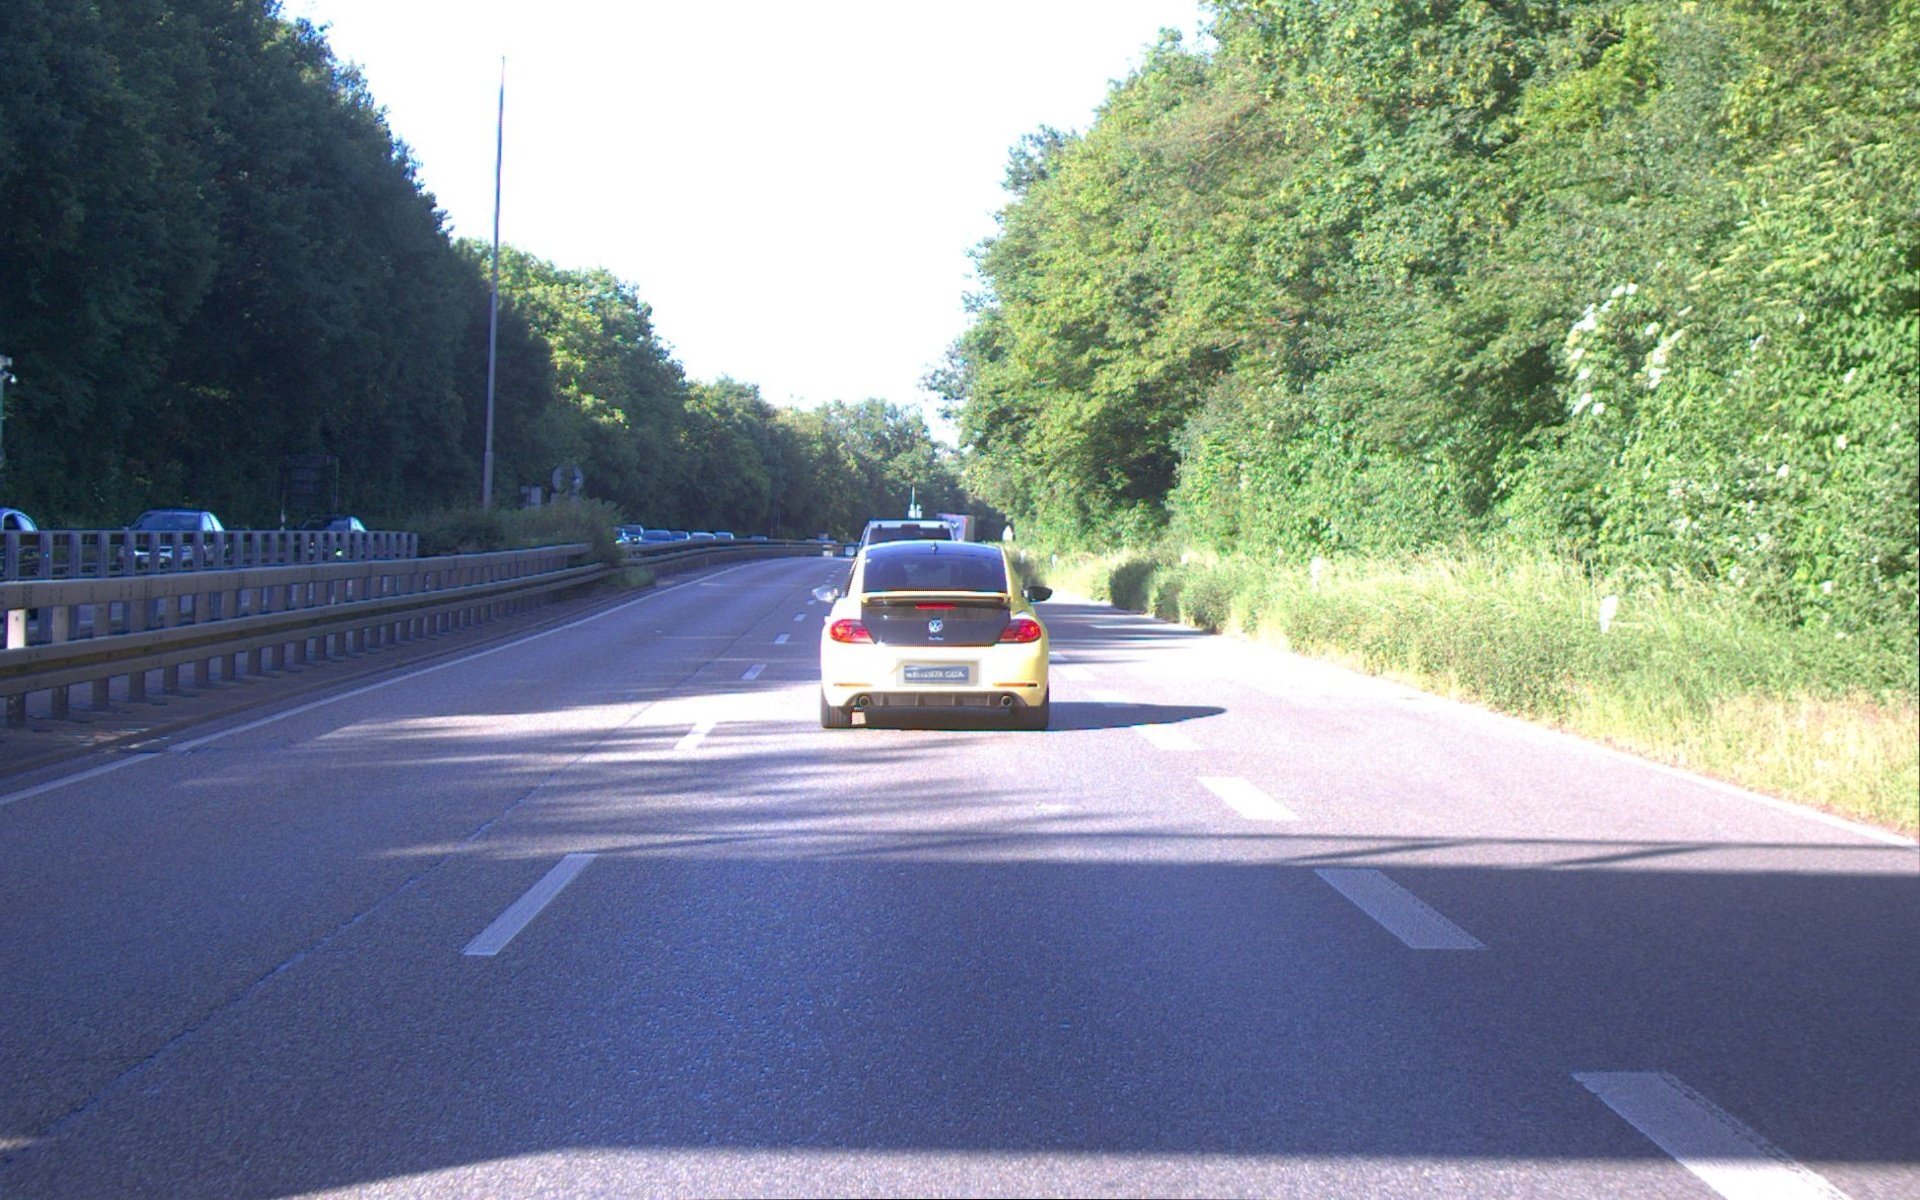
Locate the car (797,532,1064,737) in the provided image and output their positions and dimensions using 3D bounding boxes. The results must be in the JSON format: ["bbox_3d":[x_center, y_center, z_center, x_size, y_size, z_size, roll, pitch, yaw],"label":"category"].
[{"bbox_3d":[-0.172,0.239,27.539,1.939,1.503,3.422,1,1,2],"label":"car"}]

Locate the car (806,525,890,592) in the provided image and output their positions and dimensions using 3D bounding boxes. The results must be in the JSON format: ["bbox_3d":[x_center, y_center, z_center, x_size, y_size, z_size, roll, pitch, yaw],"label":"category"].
[{"bbox_3d":[-2.648,-0.988,81.964,1.939,1.539,3.423,1,1,-1],"label":"car"}]

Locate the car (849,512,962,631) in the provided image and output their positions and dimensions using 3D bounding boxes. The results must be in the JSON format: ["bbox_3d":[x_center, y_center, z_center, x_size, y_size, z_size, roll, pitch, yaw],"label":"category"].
[{"bbox_3d":[-0.914,-0.476,56.012,1.741,1.823,3.423,2,1,-2],"label":"car"}]

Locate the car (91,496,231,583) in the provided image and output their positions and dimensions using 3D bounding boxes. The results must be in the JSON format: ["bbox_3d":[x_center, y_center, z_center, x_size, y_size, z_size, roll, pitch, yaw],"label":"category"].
[{"bbox_3d":[-16.903,-1.273,72.916,1.993,1.744,4.373,1,1,-1],"label":"car"}]

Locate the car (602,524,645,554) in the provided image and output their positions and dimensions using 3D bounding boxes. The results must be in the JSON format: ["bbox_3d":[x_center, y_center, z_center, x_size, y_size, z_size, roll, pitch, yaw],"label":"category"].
[{"bbox_3d":[-18.599,-3.344,190.125,1.993,1.595,4.708,1,1,-1],"label":"car"}]

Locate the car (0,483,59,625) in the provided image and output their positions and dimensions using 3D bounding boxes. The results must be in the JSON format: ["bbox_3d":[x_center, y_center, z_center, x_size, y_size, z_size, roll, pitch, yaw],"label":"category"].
[{"bbox_3d":[-12.455,-0.594,41.892,1.897,1.710,4.111,2,1,-1],"label":"car"}]

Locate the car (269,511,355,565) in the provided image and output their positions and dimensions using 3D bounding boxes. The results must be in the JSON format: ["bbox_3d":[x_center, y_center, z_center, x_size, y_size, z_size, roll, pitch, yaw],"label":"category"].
[{"bbox_3d":[-19.132,-1.844,101.642,1.730,1.484,4.454,2,1,-1],"label":"car"}]

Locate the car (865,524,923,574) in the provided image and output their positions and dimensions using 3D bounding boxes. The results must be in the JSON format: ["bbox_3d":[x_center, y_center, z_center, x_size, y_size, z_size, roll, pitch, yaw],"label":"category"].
[{"bbox_3d":[-2.411,-1.856,124.600,1.993,1.744,4.373,1,1,-2],"label":"car"}]
